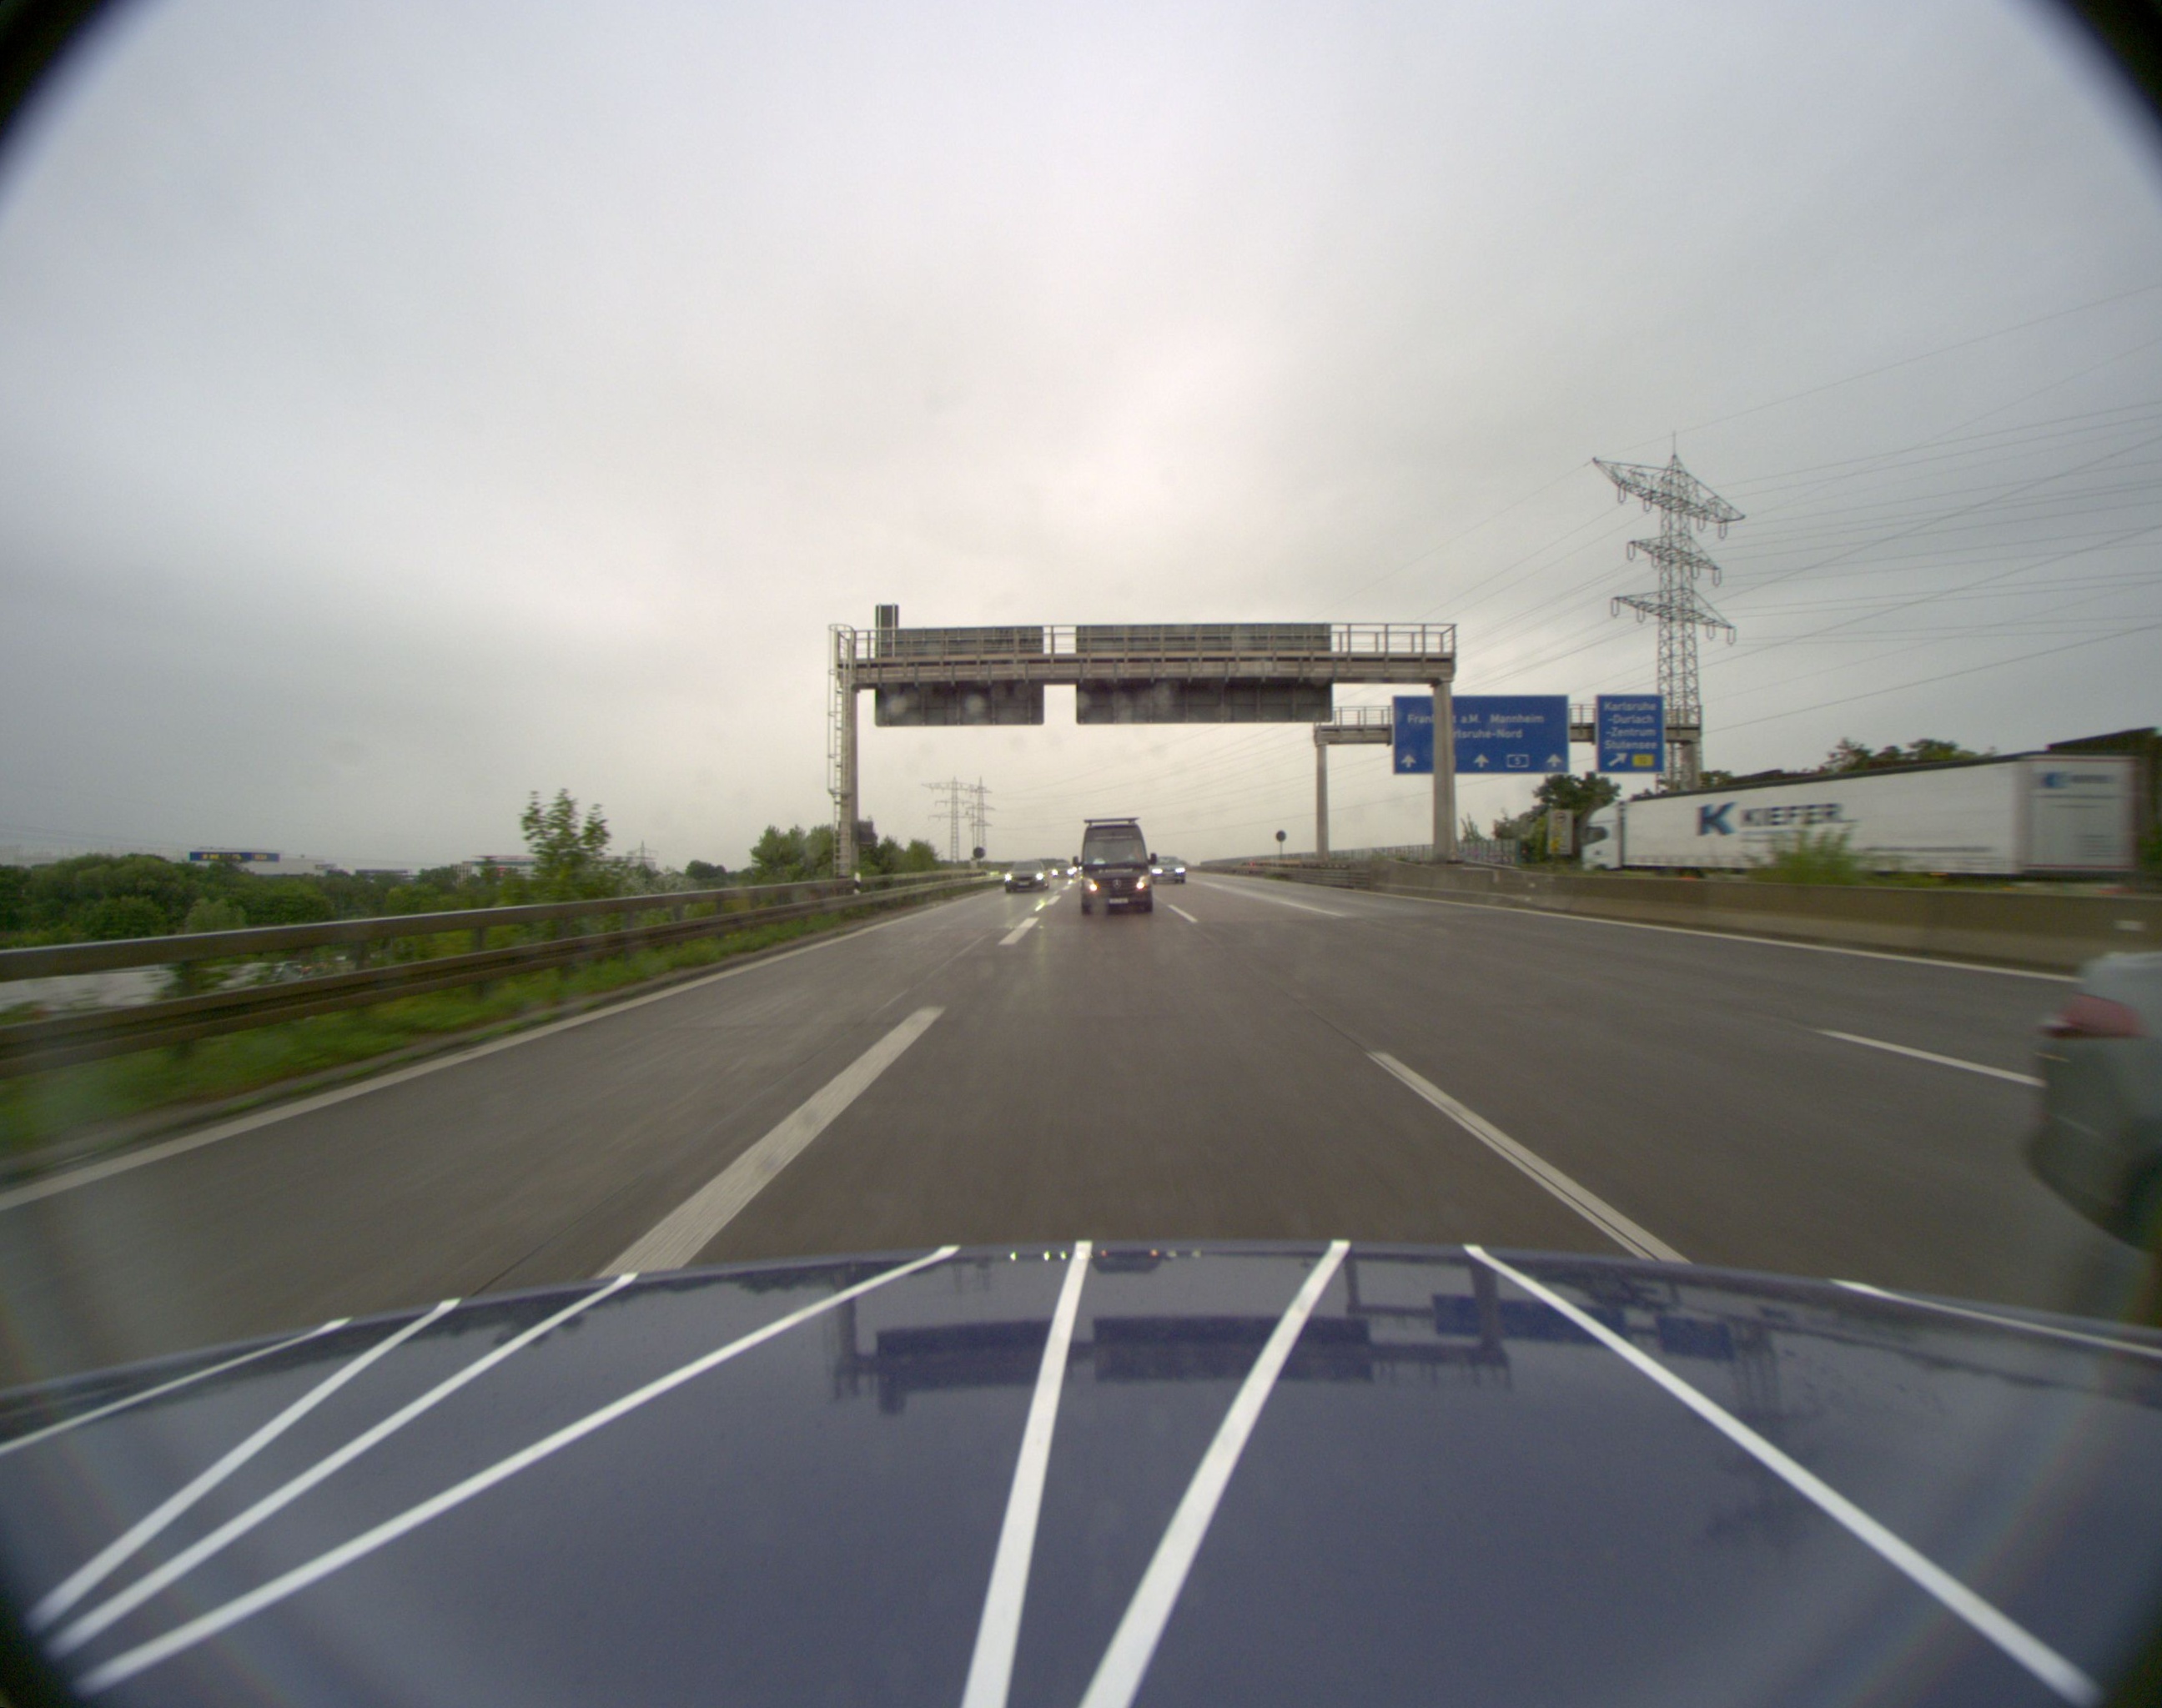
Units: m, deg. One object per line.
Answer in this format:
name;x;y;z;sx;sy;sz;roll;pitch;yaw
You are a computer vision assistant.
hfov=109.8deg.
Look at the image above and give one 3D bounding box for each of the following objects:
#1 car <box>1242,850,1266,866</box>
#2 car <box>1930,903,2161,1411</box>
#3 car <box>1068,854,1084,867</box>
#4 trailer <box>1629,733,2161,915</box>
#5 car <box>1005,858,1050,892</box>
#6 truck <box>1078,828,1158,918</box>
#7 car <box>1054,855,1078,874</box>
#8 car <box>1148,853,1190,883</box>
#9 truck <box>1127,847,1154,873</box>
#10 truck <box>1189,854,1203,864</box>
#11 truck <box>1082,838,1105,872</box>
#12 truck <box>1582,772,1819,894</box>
car;21.514;0.496;94.539;1.998;1.920;4.171;-3;0;0
car;3.912;0.885;0.332;1.729;1.395;4.828;-2;0;1
car;-0.682;0.810;99.145;1.998;1.706;4.000;0;0;1
trailer;24.238;-0.722;24.723;3.064;4.162;13.570;-3;0;1
car;-2.615;1.006;38.079;1.862;1.531;4.203;-2;-1;0
truck;0.955;0.485;23.011;1.999;2.324;6.110;-1;0;-1
car;-1.353;0.950;70.371;1.998;1.706;4.000;0;0;1
car;5.053;0.748;44.331;1.843;1.585;5.156;-2;0;1
truck;6.021;0.626;78.076;2.243;2.464;6.583;-3;0;0
truck;23.149;1.002;153.189;1.998;1.919;5.250;-1;0;0
truck;1.623;0.269;101.477;2.704;4.170;8.926;-3;-2;0
truck;24.354;-0.731;30.627;3.064;4.162;7.888;-3;0;1
